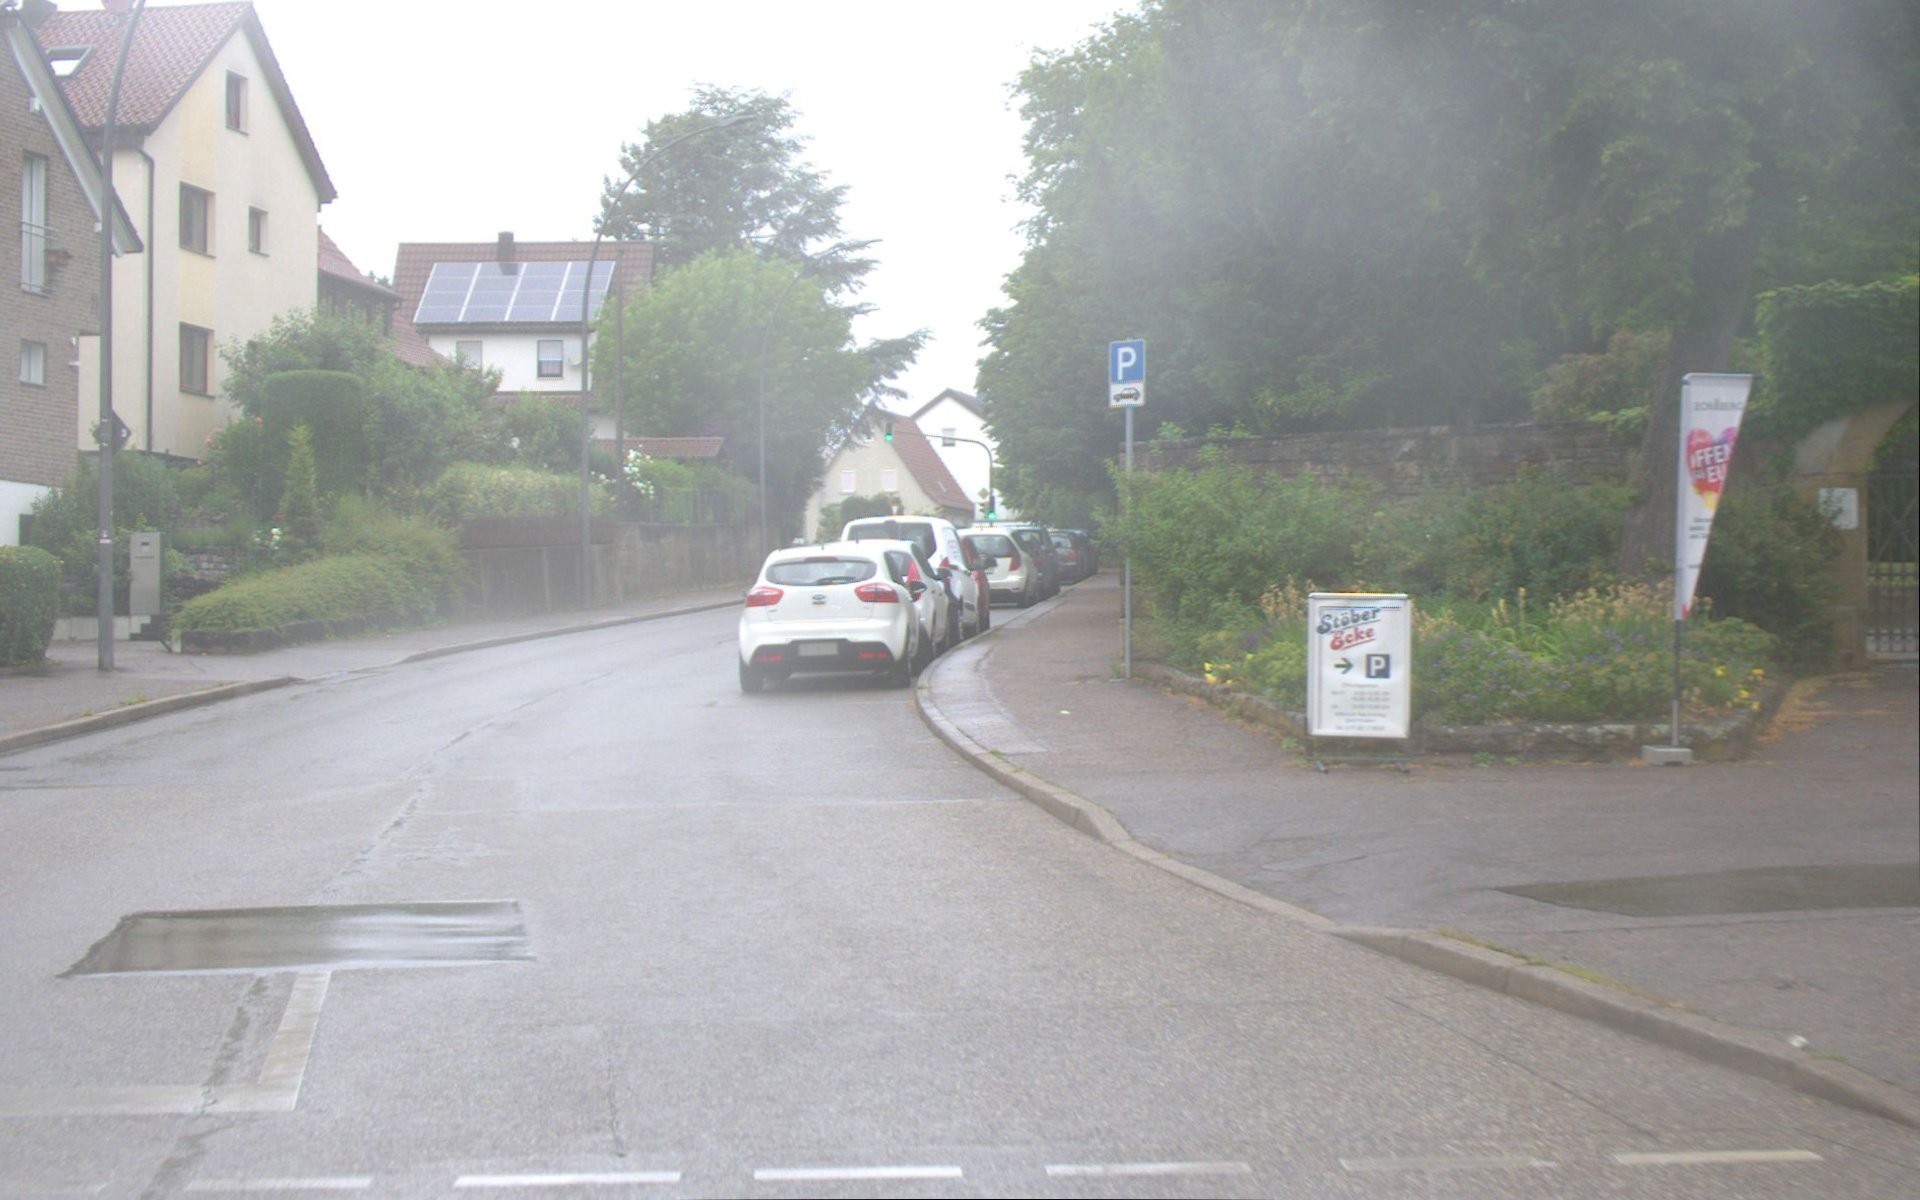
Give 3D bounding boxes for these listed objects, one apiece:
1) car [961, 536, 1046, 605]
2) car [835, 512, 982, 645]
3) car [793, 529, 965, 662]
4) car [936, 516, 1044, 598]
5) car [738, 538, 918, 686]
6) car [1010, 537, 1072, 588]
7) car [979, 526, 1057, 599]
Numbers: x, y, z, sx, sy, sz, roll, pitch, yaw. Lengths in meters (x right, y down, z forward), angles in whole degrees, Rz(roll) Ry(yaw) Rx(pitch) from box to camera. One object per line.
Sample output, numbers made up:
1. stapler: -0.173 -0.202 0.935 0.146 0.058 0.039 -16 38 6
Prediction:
1. car: 0.978 -0.645 74.972 1.764 1.442 4.696 -1 0 2
2. car: -0.665 -0.312 47.170 1.637 1.735 4.135 0 1 4
3. car: -0.924 -0.093 41.243 1.646 1.457 4.000 0 2 5
4. car: 0.627 -0.848 68.795 1.815 1.568 3.879 -1 0 5
5. car: -1.337 0.089 36.270 1.612 1.475 4.038 0 1 2
6. car: 2.257 -1.049 95.083 1.652 1.367 4.181 -1 1 2
7. car: 1.405 -0.876 81.411 1.742 1.662 4.497 -1 0 2
